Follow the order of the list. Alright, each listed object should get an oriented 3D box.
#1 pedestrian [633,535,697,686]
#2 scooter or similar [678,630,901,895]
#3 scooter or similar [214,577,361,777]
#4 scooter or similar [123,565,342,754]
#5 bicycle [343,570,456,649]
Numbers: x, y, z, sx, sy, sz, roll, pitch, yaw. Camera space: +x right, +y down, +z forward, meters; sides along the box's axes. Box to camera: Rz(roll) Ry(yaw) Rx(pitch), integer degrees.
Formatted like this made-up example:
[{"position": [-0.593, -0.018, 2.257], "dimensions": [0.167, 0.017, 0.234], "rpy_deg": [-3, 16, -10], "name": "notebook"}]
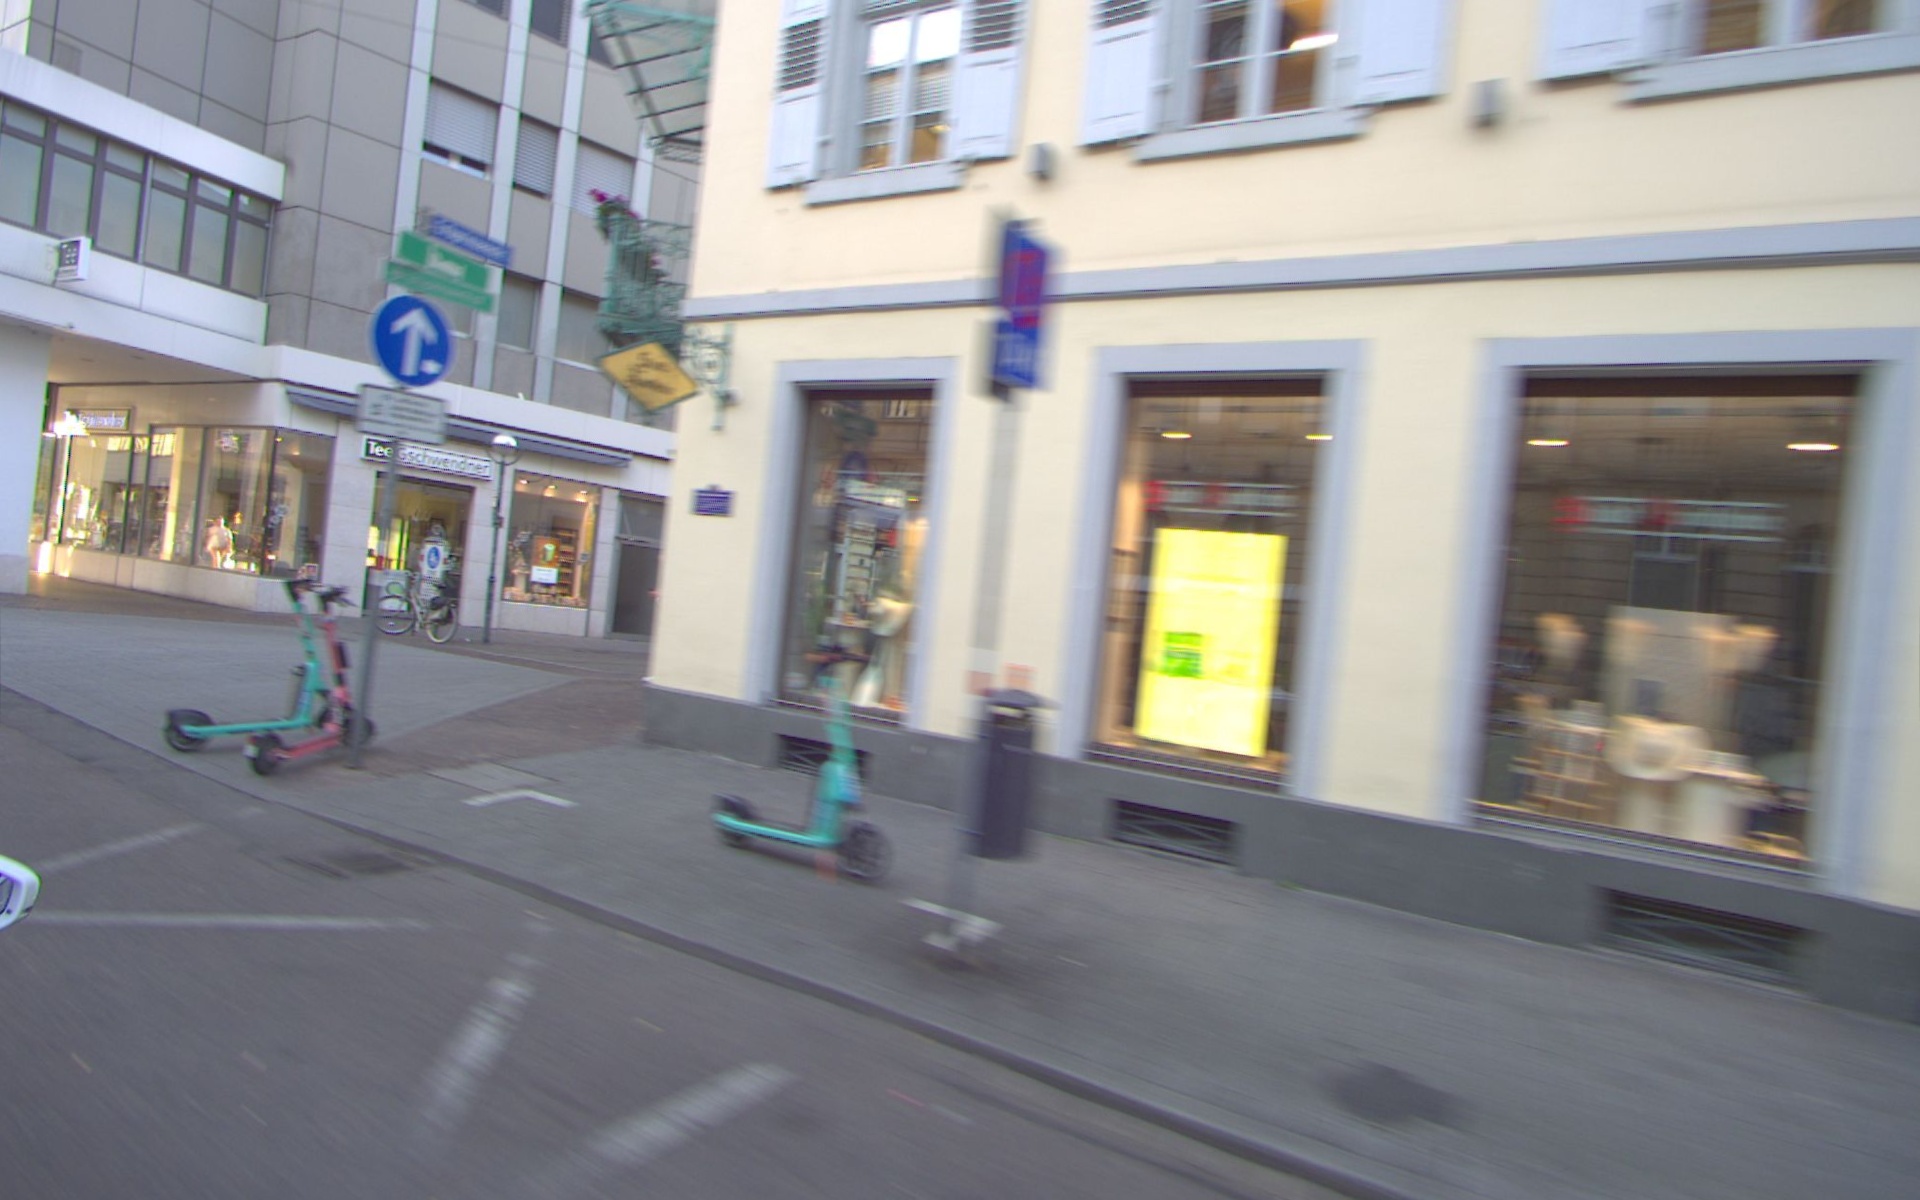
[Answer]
[{"position": [-4.143, 0.151, 14.160], "dimensions": [0.534, 2.038, 0.645], "rpy_deg": [6, 0, -4], "name": "pedestrian"}, {"position": [-0.984, 0.855, 5.634], "dimensions": [1.286, 1.250, 0.271], "rpy_deg": [5, 1, 32], "name": "scooter or similar"}, {"position": [-4.582, 0.491, 6.911], "dimensions": [0.267, 1.250, 1.047], "rpy_deg": [5, 0, -3], "name": "scooter or similar"}, {"position": [-5.193, 0.432, 7.221], "dimensions": [0.312, 1.250, 1.172], "rpy_deg": [6, 1, 44], "name": "scooter or similar"}, {"position": [-9.431, 0.154, 16.903], "dimensions": [1.816, 1.041, 0.771], "rpy_deg": [8, -1, 32], "name": "bicycle"}]
